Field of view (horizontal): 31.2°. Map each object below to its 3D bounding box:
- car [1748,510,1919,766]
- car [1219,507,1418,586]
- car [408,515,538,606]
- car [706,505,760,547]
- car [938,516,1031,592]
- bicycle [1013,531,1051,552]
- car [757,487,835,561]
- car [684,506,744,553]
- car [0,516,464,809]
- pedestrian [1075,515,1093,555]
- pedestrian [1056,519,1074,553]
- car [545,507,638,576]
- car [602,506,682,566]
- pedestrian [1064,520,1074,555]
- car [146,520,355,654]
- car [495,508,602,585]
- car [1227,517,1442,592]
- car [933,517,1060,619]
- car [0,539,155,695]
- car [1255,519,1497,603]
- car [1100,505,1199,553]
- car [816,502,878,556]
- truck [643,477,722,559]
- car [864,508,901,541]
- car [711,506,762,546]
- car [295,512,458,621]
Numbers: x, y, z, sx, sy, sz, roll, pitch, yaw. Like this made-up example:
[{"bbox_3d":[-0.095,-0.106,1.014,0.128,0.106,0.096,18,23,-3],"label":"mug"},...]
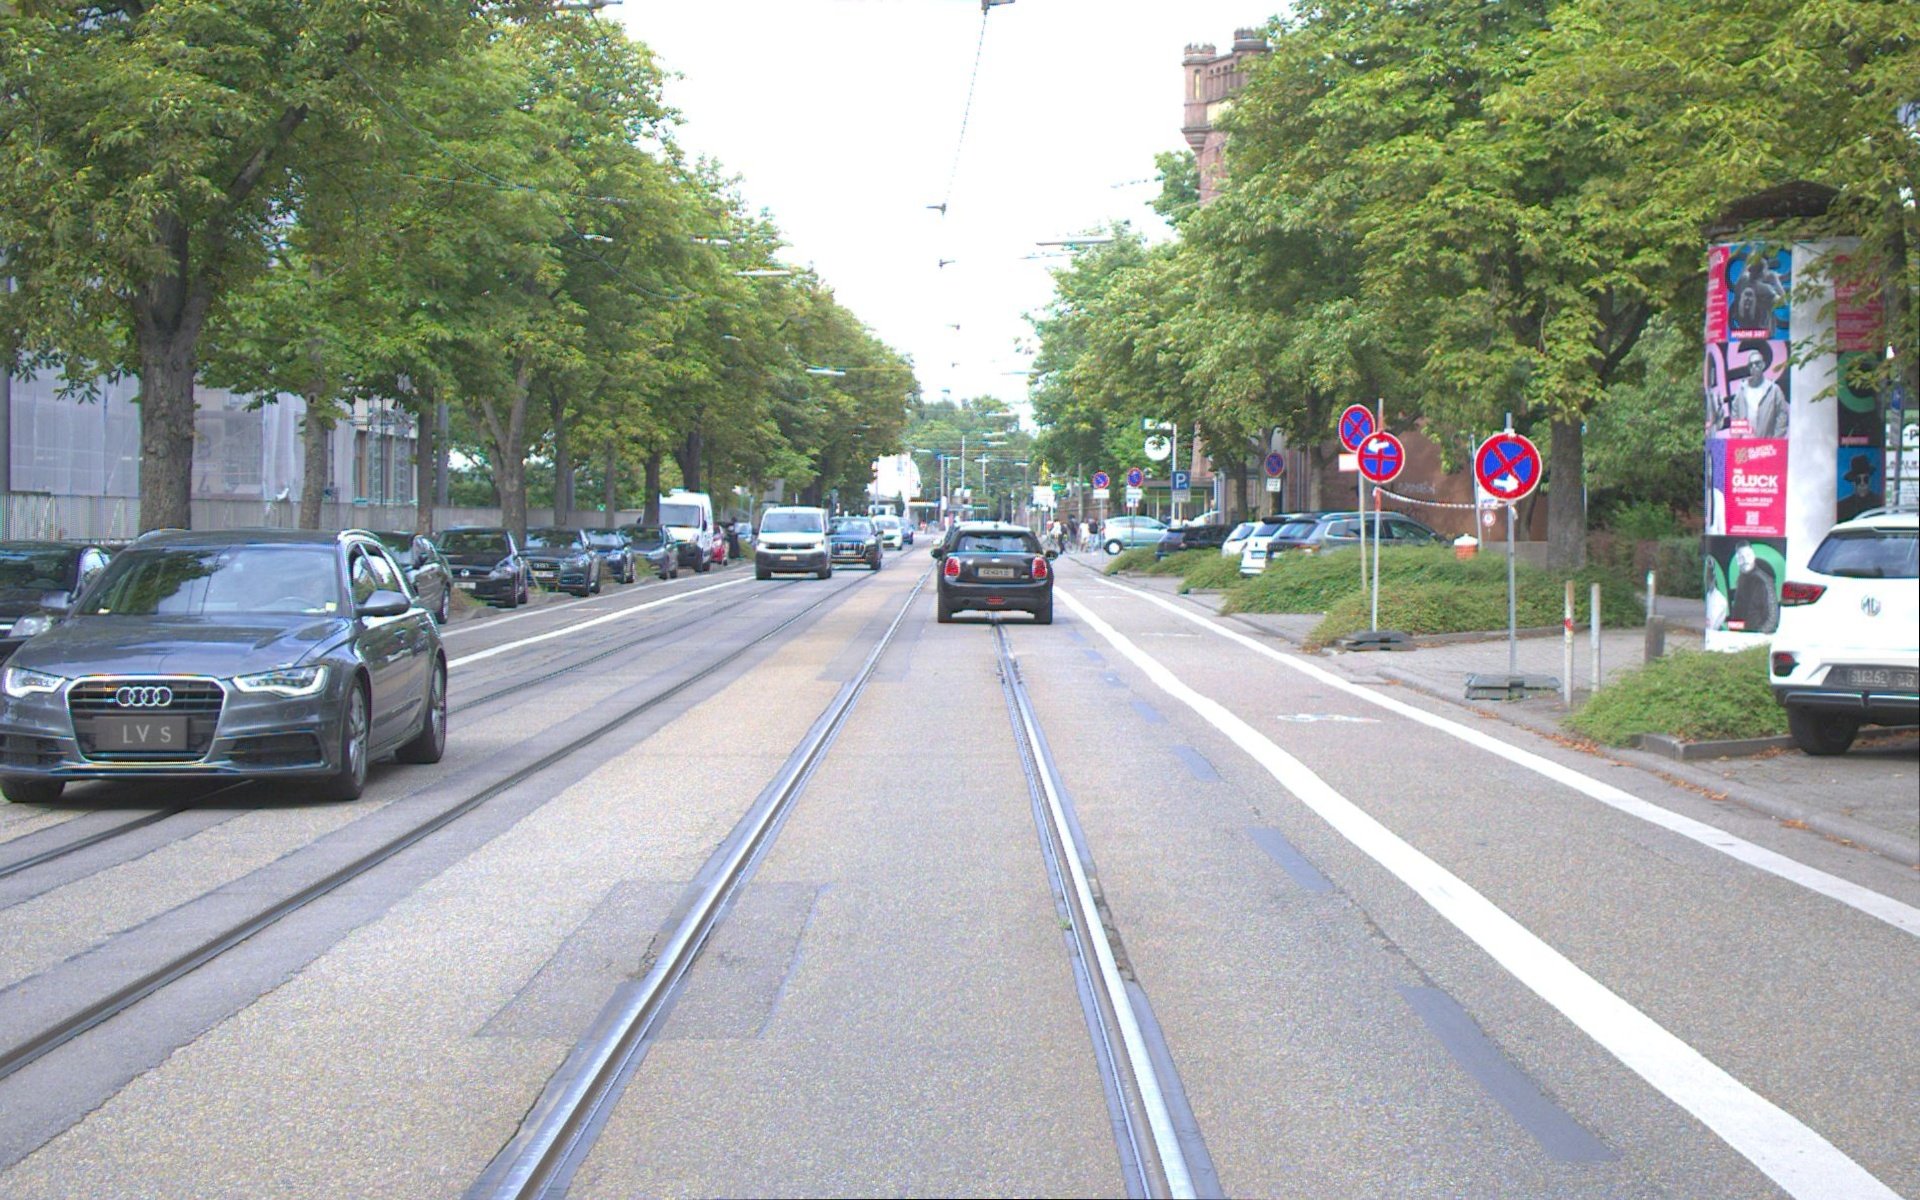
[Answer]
[{"bbox_3d":[6.929,0.213,22.642,3.437,1.567,1.560,-1,2,-38],"label":"car"},{"bbox_3d":[7.640,-1.156,73.543,3.986,1.622,1.885,1,1,-3],"label":"car"},{"bbox_3d":[-8.840,-0.744,62.687,1.802,1.578,4.031,-1,1,-1],"label":"car"},{"bbox_3d":[-8.691,-2.831,131.962,1.802,1.578,4.031,-1,1,-1],"label":"car"},{"bbox_3d":[0.484,-0.969,70.928,1.793,1.465,4.000,2,1,0],"label":"car"},{"bbox_3d":[3.503,-2.848,167.383,1.721,0.988,0.658,2,2,9],"label":"bicycle"},{"bbox_3d":[-4.134,-1.927,87.178,1.802,1.817,4.485,-1,1,-1],"label":"car"},{"bbox_3d":[-8.495,-2.460,118.861,1.802,1.578,4.031,-1,1,-1],"label":"car"},{"bbox_3d":[-4.047,0.261,19.539,1.834,1.443,4.554,1,2,-1],"label":"car"},{"bbox_3d":[5.191,-2.727,144.245,0.726,1.640,0.766,1,1,2],"label":"pedestrian"},{"bbox_3d":[5.099,-3.127,167.221,0.726,1.640,0.766,2,2,10],"label":"pedestrian"},{"bbox_3d":[-8.719,-1.406,81.644,1.802,1.578,4.031,-1,1,-1],"label":"car"},{"bbox_3d":[-8.598,-1.738,93.276,1.802,1.578,4.031,-1,1,-1],"label":"car"},{"bbox_3d":[6.313,-3.607,199.319,0.518,2.006,0.480,1,1,4],"label":"pedestrian"},{"bbox_3d":[-8.832,-0.203,43.087,1.802,1.578,4.031,-1,1,-1],"label":"car"},{"bbox_3d":[-8.700,-1.156,72.917,1.802,1.578,4.031,-1,1,-1],"label":"car"},{"bbox_3d":[7.398,-0.903,68.145,3.986,1.420,1.885,1,1,-3],"label":"car"},{"bbox_3d":[0.509,-0.504,51.453,1.793,1.418,4.000,1,1,0],"label":"car"},{"bbox_3d":[-9.019,0.125,32.699,1.802,1.369,4.031,-1,1,-1],"label":"car"},{"bbox_3d":[7.382,-0.701,61.245,3.986,1.420,1.885,1,1,-3],"label":"car"},{"bbox_3d":[8.001,-3.021,145.341,3.986,1.904,2.000,1,2,-3],"label":"car"},{"bbox_3d":[-3.492,-2.210,106.905,1.802,1.616,4.485,-1,1,-1],"label":"car"},{"bbox_3d":[-8.560,-2.535,106.343,2.071,2.462,4.899,-1,1,-1],"label":"truck"},{"bbox_3d":[-3.906,-3.820,173.756,1.802,1.616,4.485,-1,1,-1],"label":"car"},{"bbox_3d":[-8.948,-2.985,138.045,1.802,1.578,4.031,-1,1,-1],"label":"car"},{"bbox_3d":[-8.769,-0.534,51.953,1.802,1.578,4.031,-1,1,-1],"label":"car"}]
